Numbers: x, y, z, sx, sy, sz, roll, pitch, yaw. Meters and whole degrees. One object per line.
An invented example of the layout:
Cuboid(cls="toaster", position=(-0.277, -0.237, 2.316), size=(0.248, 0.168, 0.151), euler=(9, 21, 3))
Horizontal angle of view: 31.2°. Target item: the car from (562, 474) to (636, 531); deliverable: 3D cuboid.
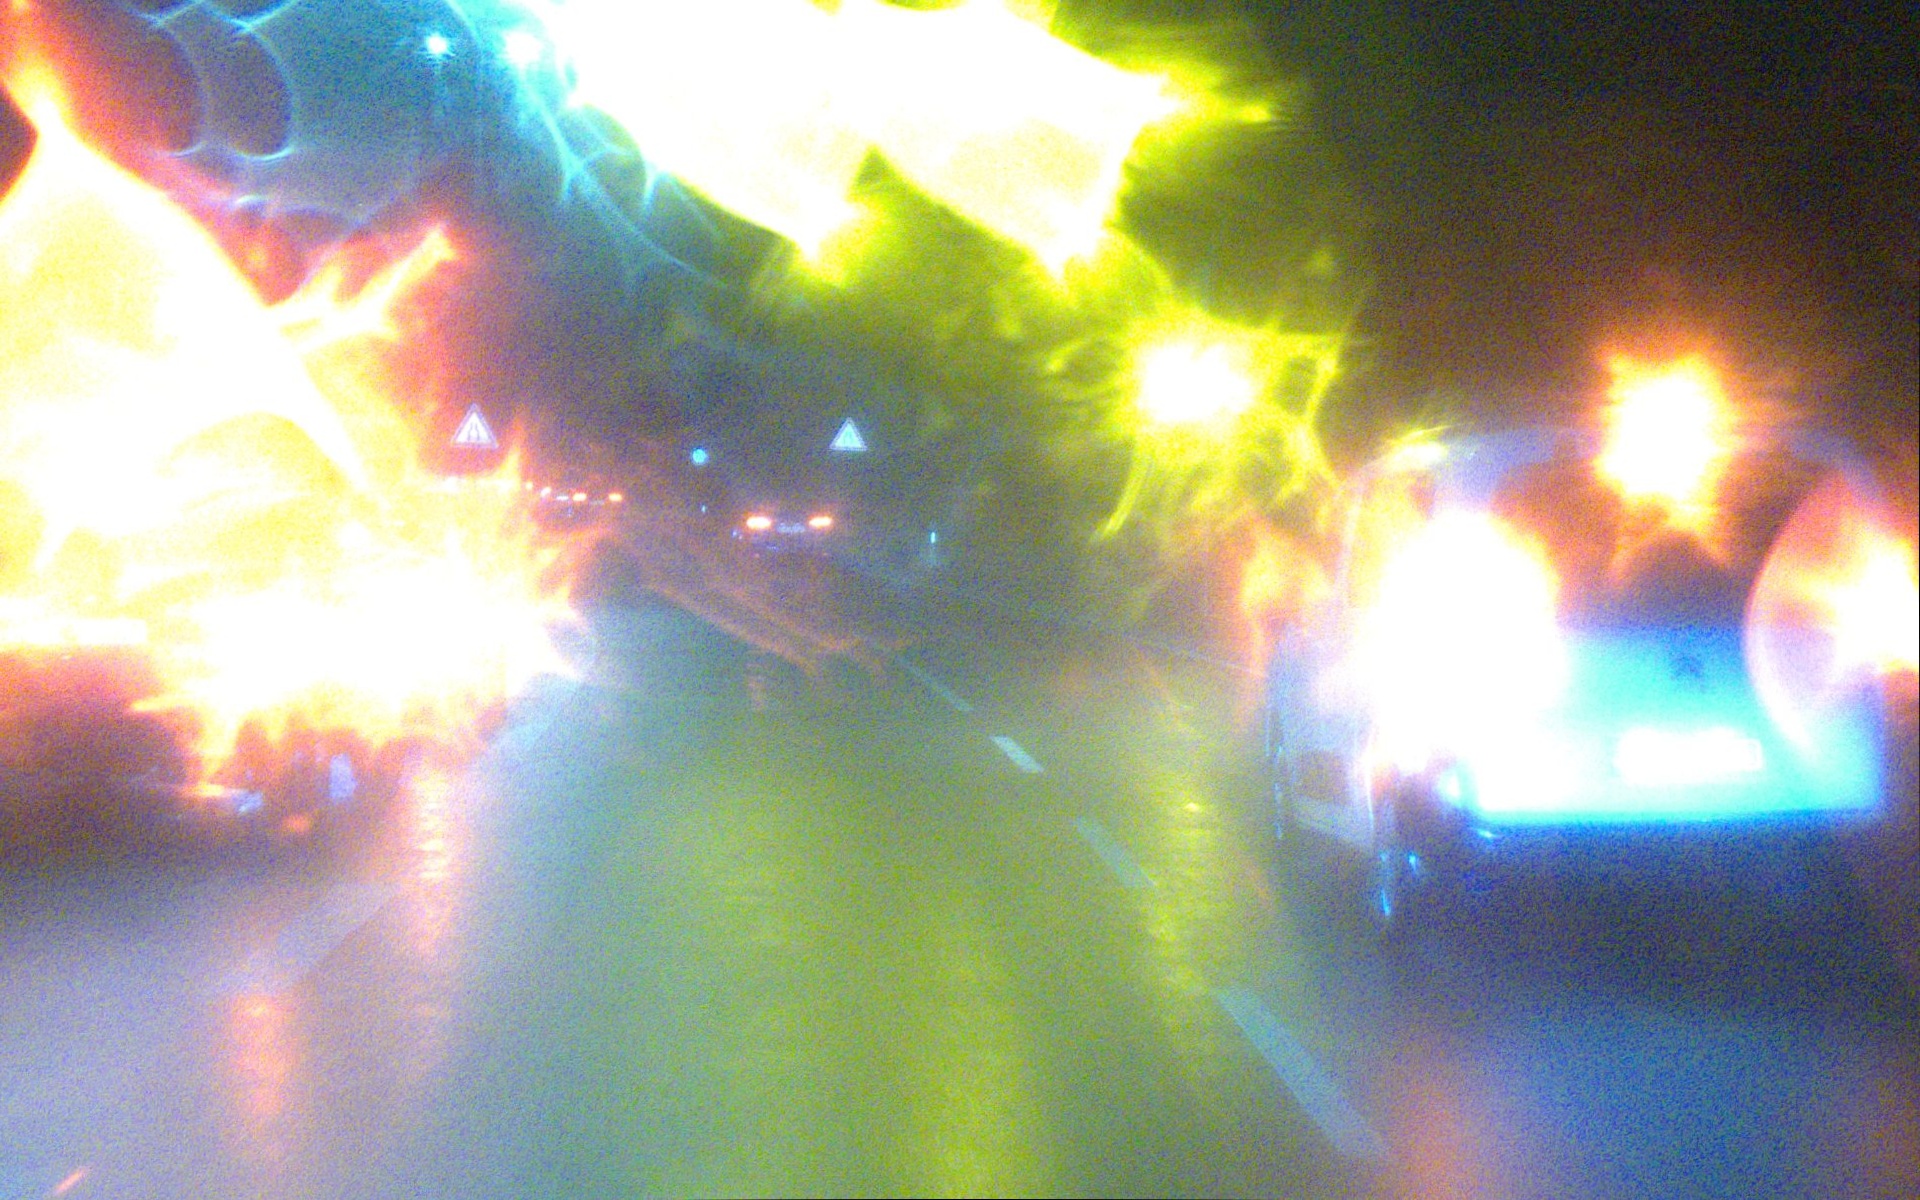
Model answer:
Cuboid(cls="car", position=(-12.459, -3.355, 118.839), size=(1.993, 1.711, 4.000), euler=(4, 0, 1))

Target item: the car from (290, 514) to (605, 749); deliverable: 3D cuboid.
Cuboid(cls="car", position=(-3.558, 0.153, 24.582), size=(1.783, 1.506, 4.437), euler=(-1, 1, -3))

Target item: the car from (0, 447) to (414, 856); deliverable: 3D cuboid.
Cuboid(cls="car", position=(-3.879, 0.169, 17.153), size=(1.783, 1.776, 4.437), euler=(0, 1, -3))

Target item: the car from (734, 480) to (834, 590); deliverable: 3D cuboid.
Cuboid(cls="car", position=(-3.391, -1.252, 65.507), size=(1.791, 2.015, 4.580), euler=(0, 1, -4))

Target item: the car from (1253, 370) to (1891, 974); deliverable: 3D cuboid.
Cuboid(cls="car", position=(2.239, 0.176, 13.790), size=(1.791, 2.015, 4.580), euler=(0, 2, 1))
